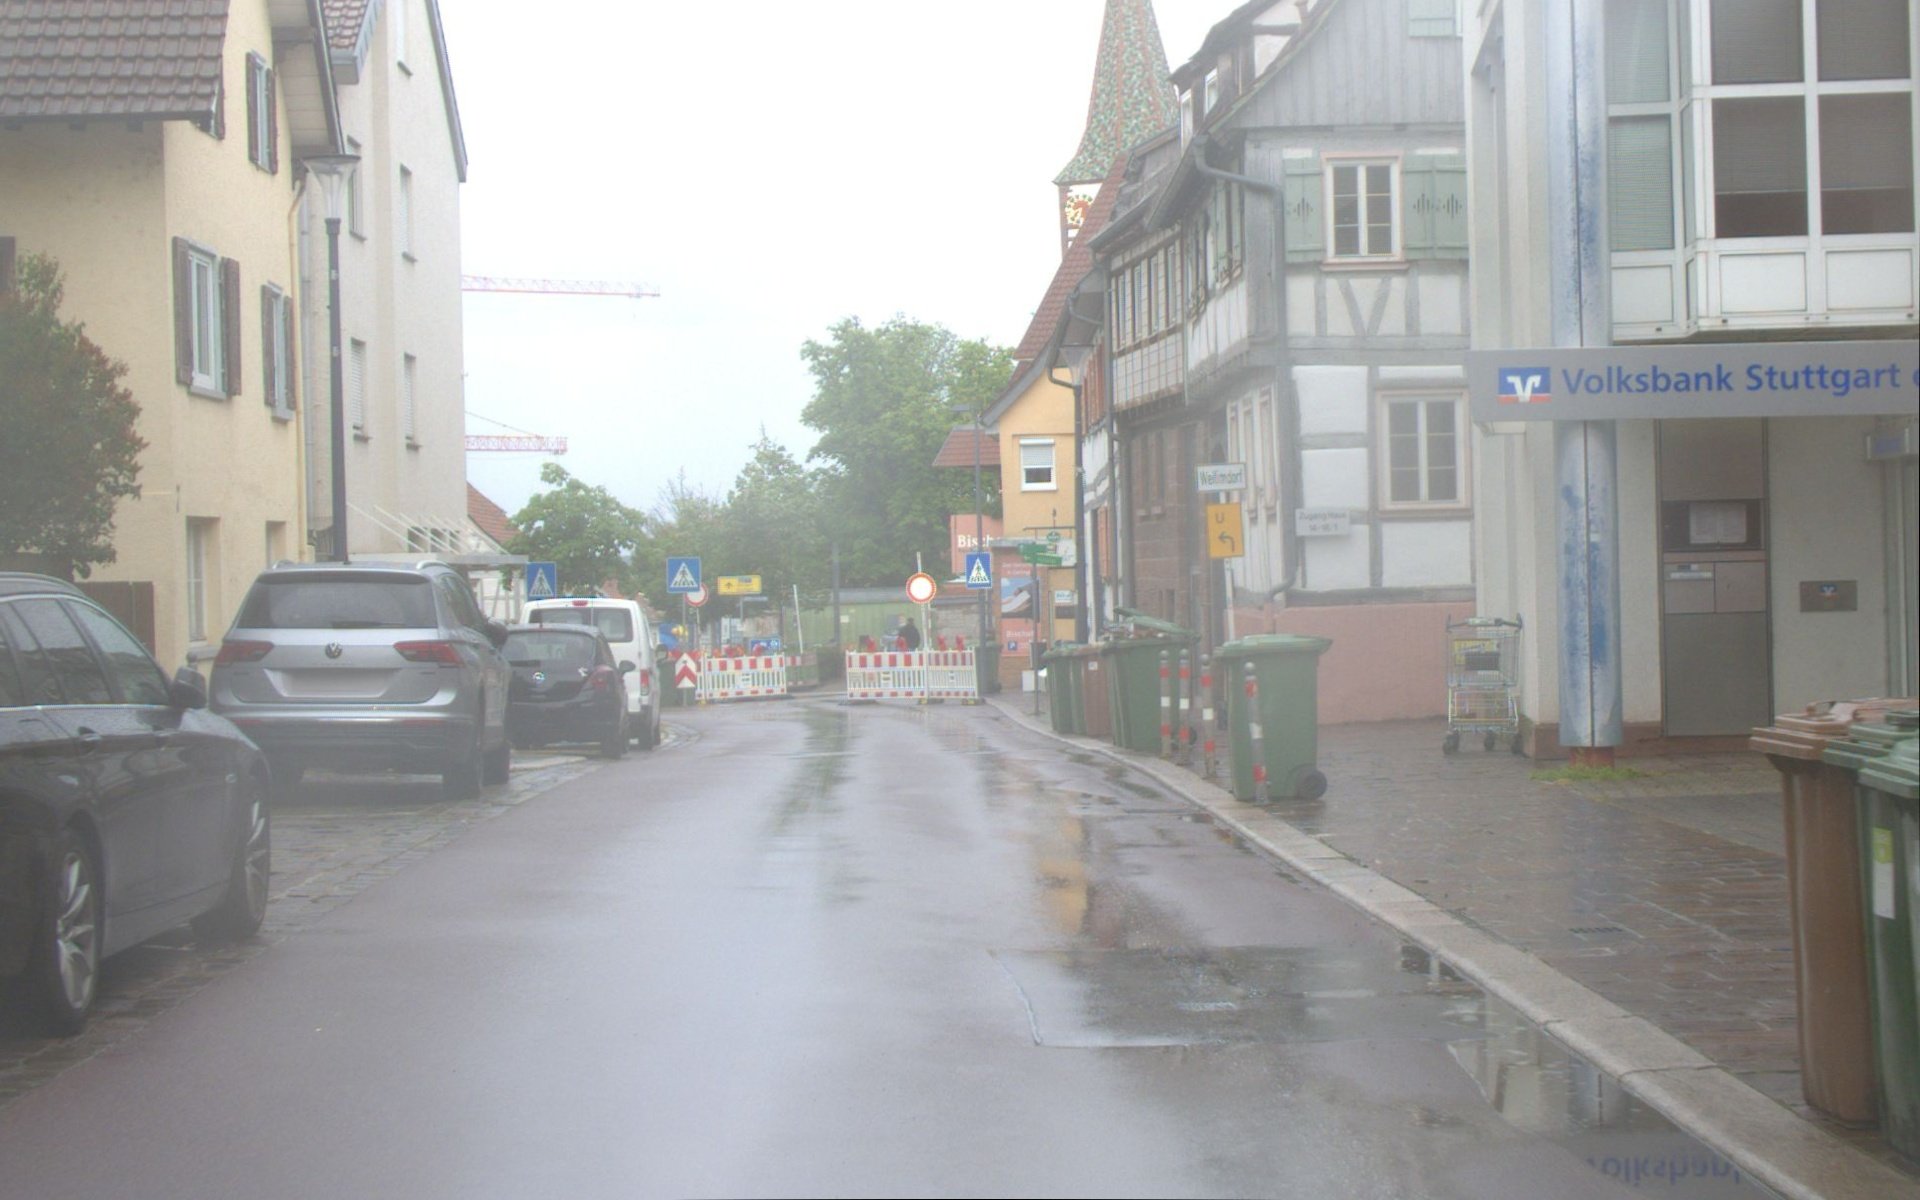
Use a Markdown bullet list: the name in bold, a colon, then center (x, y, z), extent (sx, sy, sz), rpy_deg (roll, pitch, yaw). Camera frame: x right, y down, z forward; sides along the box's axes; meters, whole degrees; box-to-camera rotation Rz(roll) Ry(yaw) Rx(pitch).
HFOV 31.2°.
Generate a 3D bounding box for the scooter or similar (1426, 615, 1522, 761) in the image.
- **scooter or similar**: center (4.136, 0.708, 27.744), extent (0.665, 1.142, 1.445), rpy_deg (-1, -1, 5)

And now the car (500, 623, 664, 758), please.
- **car**: center (-4.110, 0.991, 37.820), extent (1.680, 1.384, 3.826), rpy_deg (-1, -1, -5)

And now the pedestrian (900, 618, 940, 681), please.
- **pedestrian**: center (-1.129, 1.410, 96.884), extent (0.990, 1.753, 0.852), rpy_deg (-1, -2, -7)

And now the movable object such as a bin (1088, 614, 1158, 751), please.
- **movable object such as a bin**: center (1.565, 0.787, 32.872), extent (0.638, 1.286, 0.632), rpy_deg (-1, -2, 4)

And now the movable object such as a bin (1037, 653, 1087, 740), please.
- **movable object such as a bin**: center (1.341, 1.266, 45.131), extent (0.609, 1.124, 0.599), rpy_deg (-1, -2, -1)

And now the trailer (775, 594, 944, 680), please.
- **trailer**: center (-3.571, 1.311, 121.226), extent (5.780, 2.938, 2.000), rpy_deg (-1, -2, -6)

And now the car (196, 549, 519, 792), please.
- **car**: center (-4.230, 0.516, 24.731), extent (1.779, 1.563, 4.408), rpy_deg (-1, -1, -3)

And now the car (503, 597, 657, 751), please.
- **car**: center (-4.753, 0.947, 43.440), extent (1.723, 1.819, 4.428), rpy_deg (-1, -1, -4)

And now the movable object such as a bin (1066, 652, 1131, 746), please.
- **movable object such as a bin**: center (1.644, 1.175, 40.802), extent (0.669, 1.078, 0.588), rpy_deg (-2, -2, -3)

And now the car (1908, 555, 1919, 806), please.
- **car**: center (7.415, 0.400, 18.919), extent (3.988, 1.509, 1.911), rpy_deg (-3, -2, 9)

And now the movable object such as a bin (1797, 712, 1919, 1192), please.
- **movable object such as a bin**: center (2.456, 0.823, 8.283), extent (0.710, 1.091, 0.614), rpy_deg (-1, -1, 0)

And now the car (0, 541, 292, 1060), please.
- **car**: center (-3.705, 0.596, 11.901), extent (1.830, 1.493, 4.763), rpy_deg (-2, 0, 0)

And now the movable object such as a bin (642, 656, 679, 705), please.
- **movable object such as a bin**: center (-6.457, 1.732, 74.085), extent (0.544, 1.029, 0.533), rpy_deg (-5, -3, 32)

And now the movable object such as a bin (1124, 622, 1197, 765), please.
- **movable object such as a bin**: center (1.835, 0.852, 31.400), extent (0.638, 1.286, 0.632), rpy_deg (-1, -2, 4)

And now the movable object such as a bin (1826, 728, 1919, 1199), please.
- **movable object such as a bin**: center (2.337, 0.830, 7.545), extent (0.676, 1.080, 0.698), rpy_deg (-1, -1, 0)

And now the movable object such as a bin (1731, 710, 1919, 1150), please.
- **movable object such as a bin**: center (2.449, 0.834, 8.930), extent (0.729, 1.077, 0.646), rpy_deg (-1, -1, 0)

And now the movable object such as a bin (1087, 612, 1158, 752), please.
- **movable object such as a bin**: center (1.527, 0.770, 32.185), extent (0.638, 1.286, 0.632), rpy_deg (-1, -2, 4)

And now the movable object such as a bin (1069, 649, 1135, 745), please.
- **movable object such as a bin**: center (1.633, 1.115, 39.609), extent (0.678, 1.093, 0.650), rpy_deg (0, -1, -5)

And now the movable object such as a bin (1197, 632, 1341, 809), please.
- **movable object such as a bin**: center (2.013, 0.783, 22.514), extent (0.804, 1.127, 0.862), rpy_deg (-1, -2, -3)

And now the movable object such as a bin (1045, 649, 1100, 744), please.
- **movable object such as a bin**: center (1.382, 1.177, 42.139), extent (0.638, 1.143, 0.603), rpy_deg (-1, -2, 4)
